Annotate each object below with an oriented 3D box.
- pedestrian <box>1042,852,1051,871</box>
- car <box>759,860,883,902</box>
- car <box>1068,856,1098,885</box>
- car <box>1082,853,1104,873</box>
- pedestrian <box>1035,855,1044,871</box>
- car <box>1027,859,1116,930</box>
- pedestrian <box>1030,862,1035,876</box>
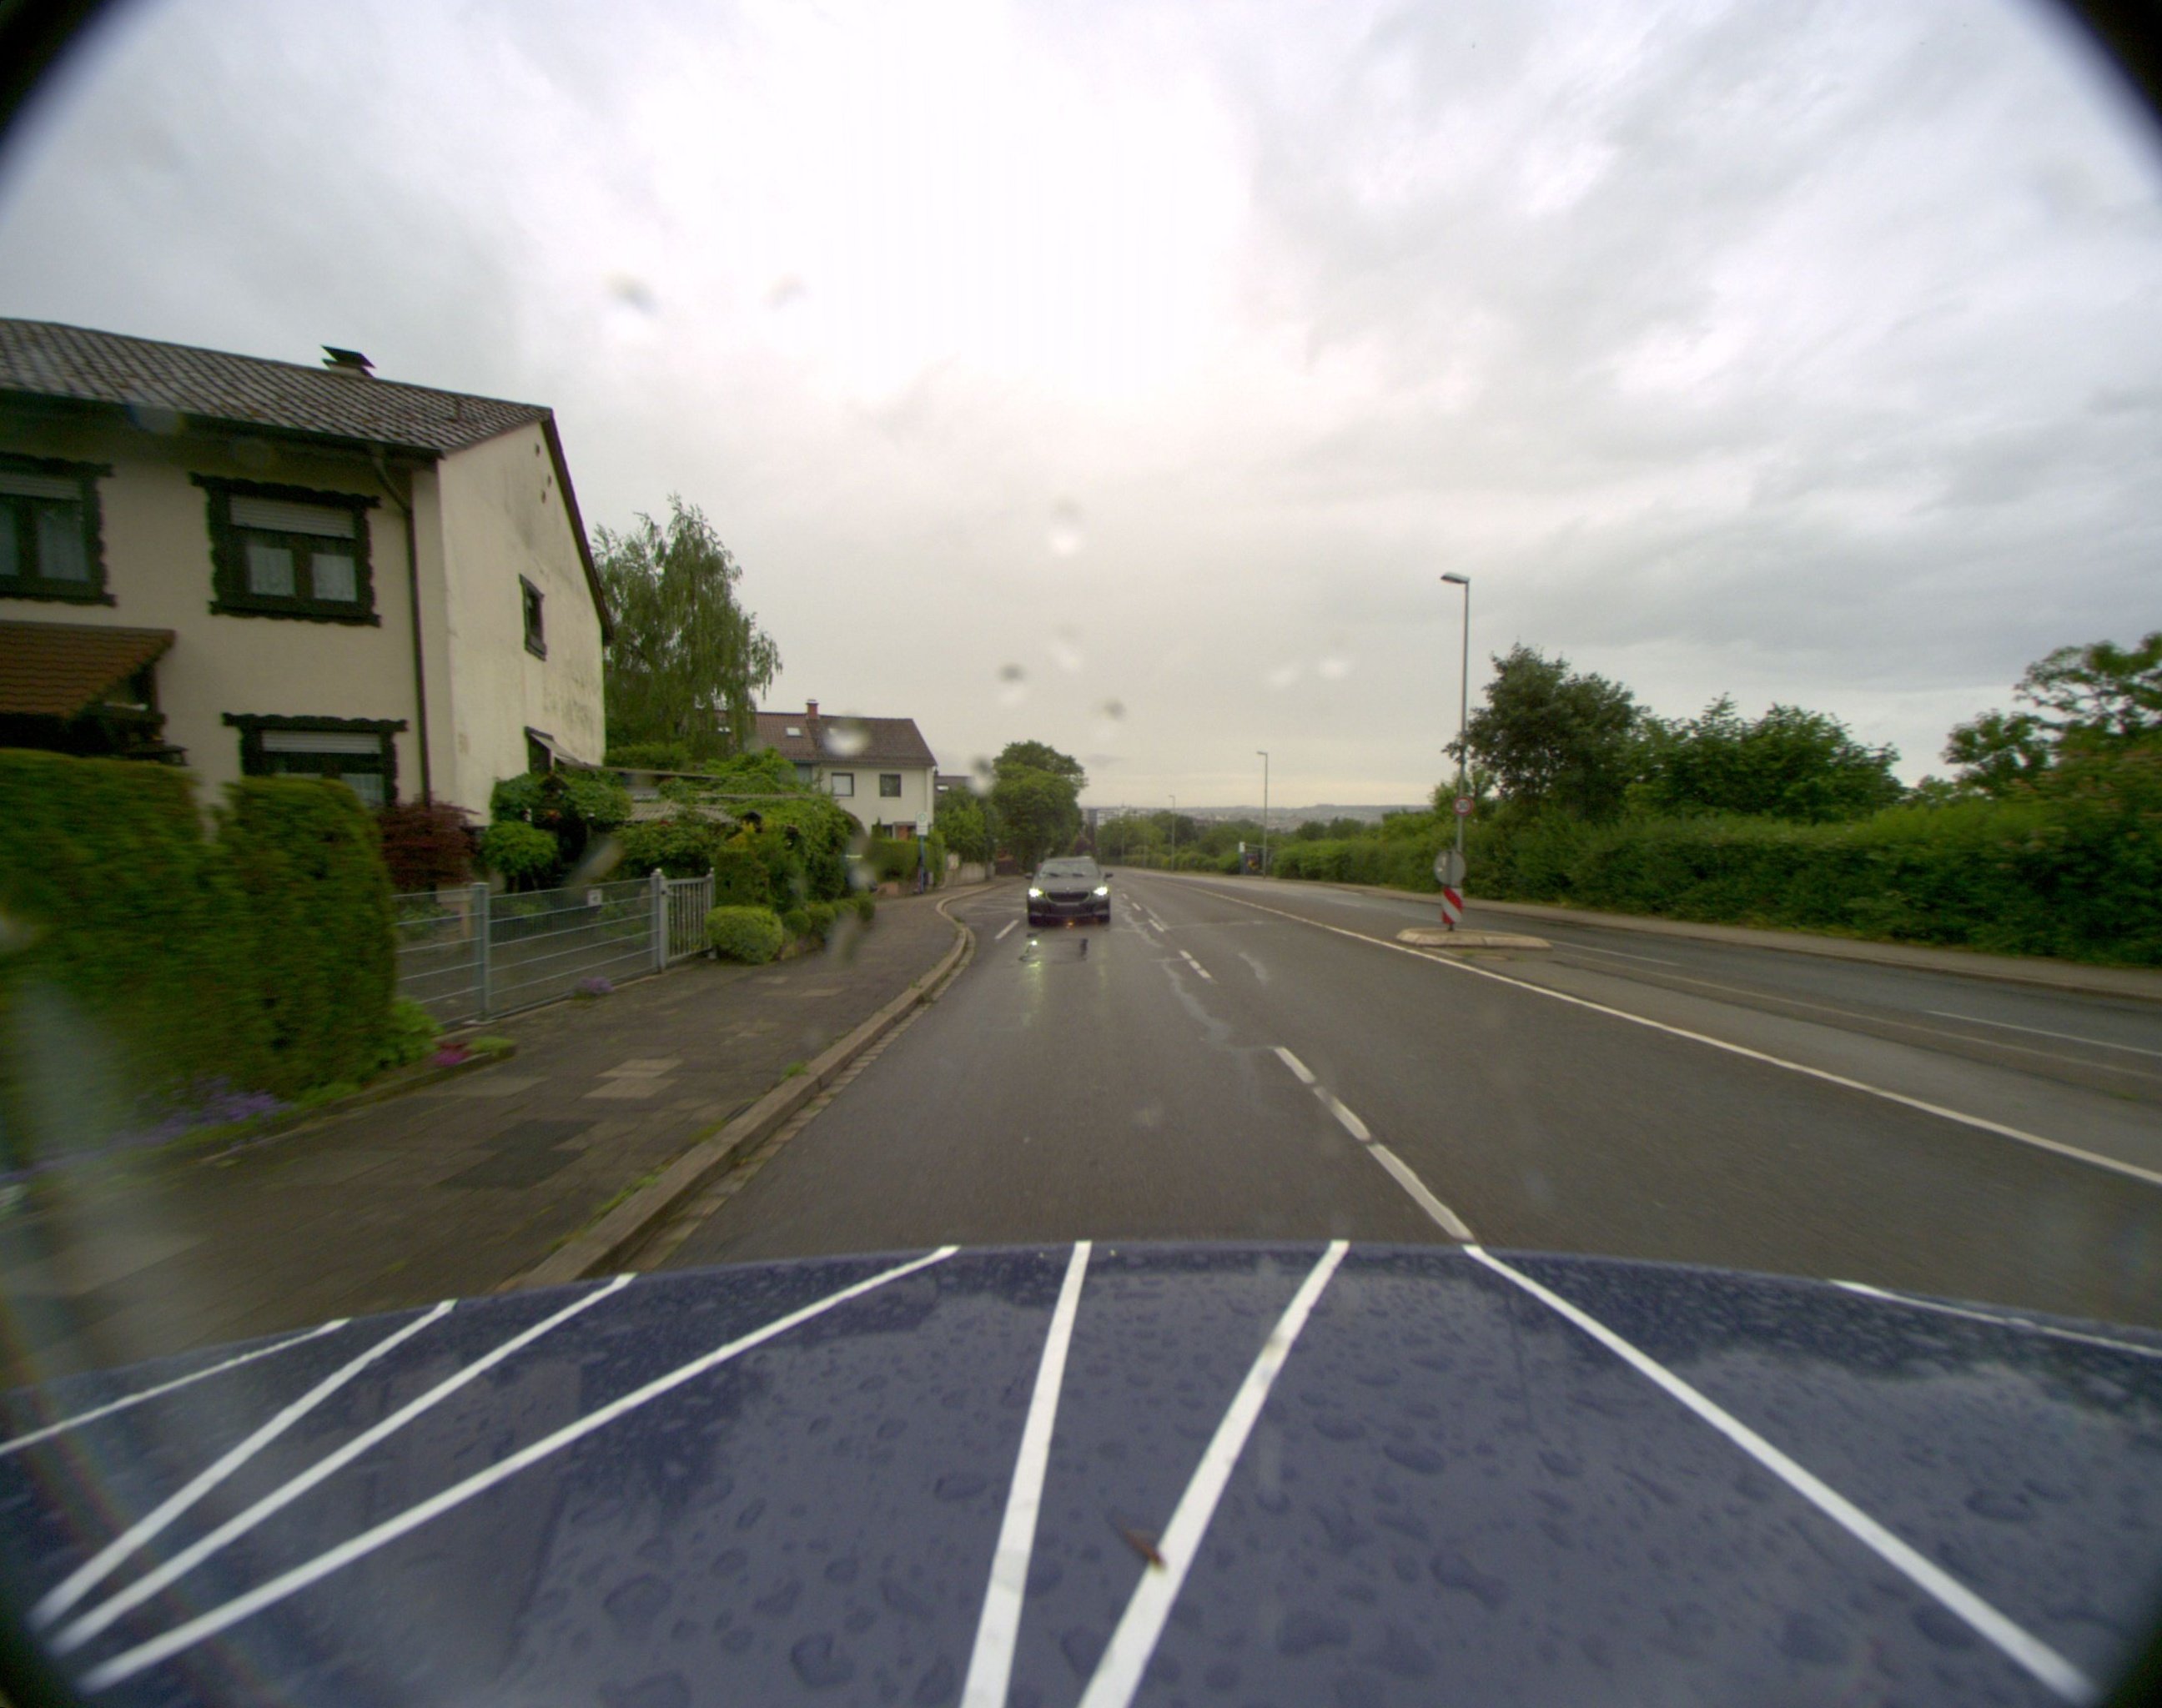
[{"bbox_3d":[-2.897,0.635,64.085,0.611,1.584,0.646,0,0,8],"label":"pedestrian"},{"bbox_3d":[-8.526,0.843,24.873,3.712,1.290,1.769,0,1,-23],"label":"car"},{"bbox_3d":[0.171,0.871,41.622,1.550,1.505,4.283,0,0,1],"label":"car"},{"bbox_3d":[1.058,0.798,67.611,1.703,1.670,4.282,0,0,-3],"label":"car"},{"bbox_3d":[-3.523,0.738,64.159,0.603,1.347,0.646,0,0,8],"label":"pedestrian"},{"bbox_3d":[-0.330,0.881,18.579,1.846,1.371,4.281,-3,1,-3],"label":"car"},{"bbox_3d":[-4.064,1.246,64.027,0.368,1.140,0.366,0,0,8],"label":"pedestrian"}]
